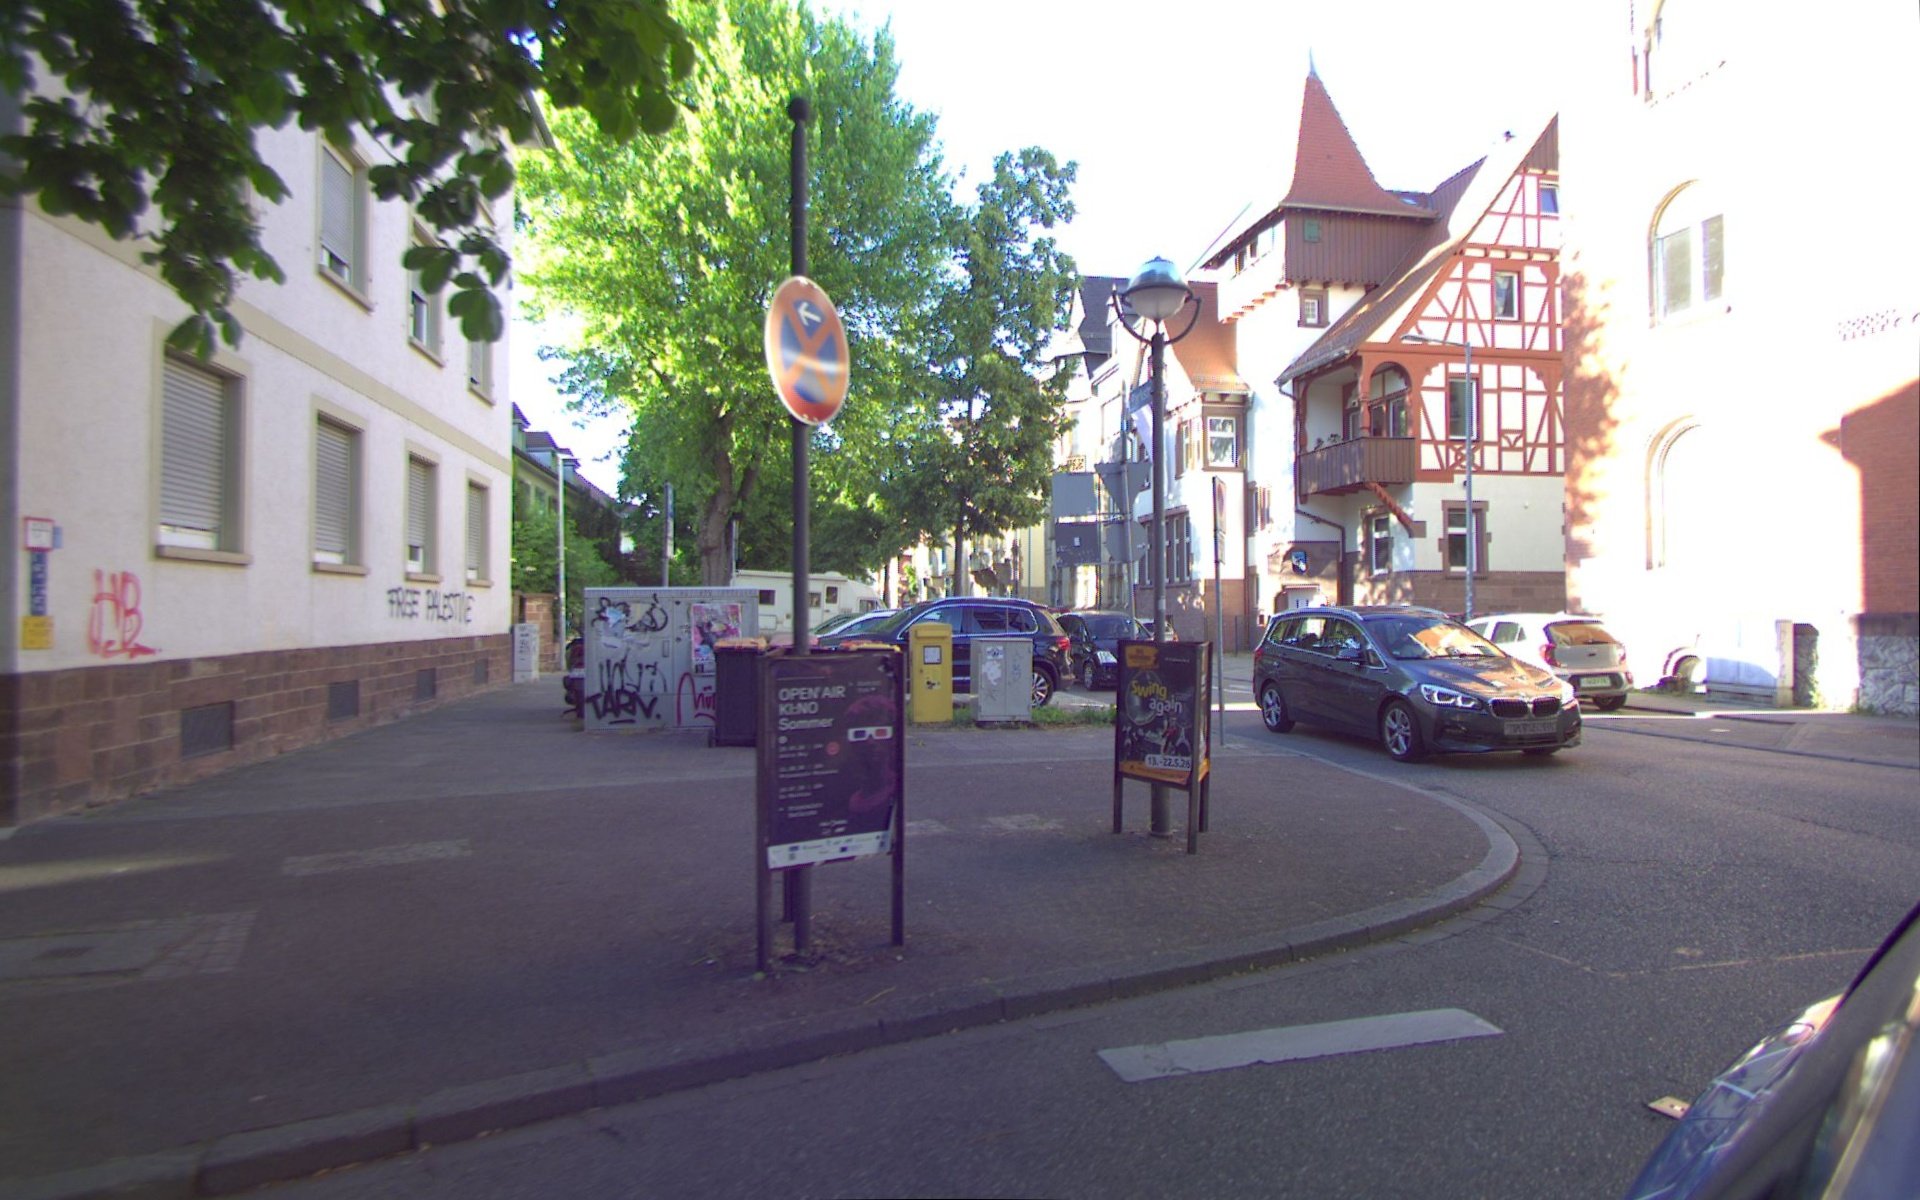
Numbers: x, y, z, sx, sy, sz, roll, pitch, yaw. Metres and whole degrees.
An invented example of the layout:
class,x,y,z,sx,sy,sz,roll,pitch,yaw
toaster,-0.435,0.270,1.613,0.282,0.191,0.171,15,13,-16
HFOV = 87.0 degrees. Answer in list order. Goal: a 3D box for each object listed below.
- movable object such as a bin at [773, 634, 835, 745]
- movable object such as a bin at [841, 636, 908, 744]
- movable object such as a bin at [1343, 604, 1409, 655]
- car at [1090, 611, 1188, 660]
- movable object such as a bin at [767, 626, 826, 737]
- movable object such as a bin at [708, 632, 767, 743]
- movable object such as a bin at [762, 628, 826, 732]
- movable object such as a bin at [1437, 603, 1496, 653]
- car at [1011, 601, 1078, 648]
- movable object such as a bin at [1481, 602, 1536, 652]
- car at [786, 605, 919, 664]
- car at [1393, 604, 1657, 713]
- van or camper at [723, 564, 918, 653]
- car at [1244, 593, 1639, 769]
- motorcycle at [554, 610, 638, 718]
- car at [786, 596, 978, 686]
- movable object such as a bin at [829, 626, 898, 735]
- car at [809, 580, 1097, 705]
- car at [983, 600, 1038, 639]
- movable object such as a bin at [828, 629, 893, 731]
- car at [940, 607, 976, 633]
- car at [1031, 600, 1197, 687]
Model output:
class,x,y,z,sx,sy,sz,roll,pitch,yaw
movable object such as a bin,-1.628,0.913,10.527,0.617,1.089,0.706,0,-1,-10
movable object such as a bin,-0.912,0.927,10.704,0.645,1.078,0.695,0,-1,-10
movable object such as a bin,11.296,0.791,27.529,1.354,1.315,0.968,-1,-1,-1
car,5.869,1.131,33.636,1.713,1.485,4.110,-1,0,-13
movable object such as a bin,-1.817,0.883,11.239,0.620,1.167,0.702,0,-1,-10
movable object such as a bin,-2.327,0.897,10.611,0.580,1.097,0.675,0,-1,-12
movable object such as a bin,-1.967,0.926,11.963,0.724,1.167,0.702,0,-1,-10
movable object such as a bin,13.965,0.761,27.908,1.355,1.334,0.688,-1,-1,-18
car,3.674,1.040,44.569,1.767,1.931,4.331,-2,0,-11
movable object such as a bin,15.213,0.740,28.085,1.180,1.327,0.632,-1,-1,-9
car,-2.996,0.942,27.865,3.526,1.525,1.680,1,-2,-10
car,9.091,0.861,16.684,1.675,1.504,3.803,-2,0,-11
van or camper,-5.221,0.313,37.616,6.951,3.117,2.469,0,-1,-13
car,5.201,0.772,11.785,1.886,1.627,4.523,0,-1,-9
motorcycle,-4.812,0.787,13.427,0.957,1.296,2.186,0,-1,-19
car,-1.568,0.782,20.029,3.630,1.672,1.706,0,-1,-7
movable object such as a bin,-1.100,0.888,11.420,0.724,1.167,0.702,0,-1,-10
car,-0.164,0.653,15.586,4.032,1.735,2.027,1,-2,-15
car,2.522,0.976,51.431,1.739,1.875,4.549,-1,-1,-11
movable object such as a bin,-1.205,0.938,12.178,0.724,1.167,0.717,0,-1,-10
car,-0.148,1.265,64.217,1.655,1.528,2.865,-4,0,-11
car,3.175,0.882,21.879,1.958,1.613,4.269,-2,-1,-15
